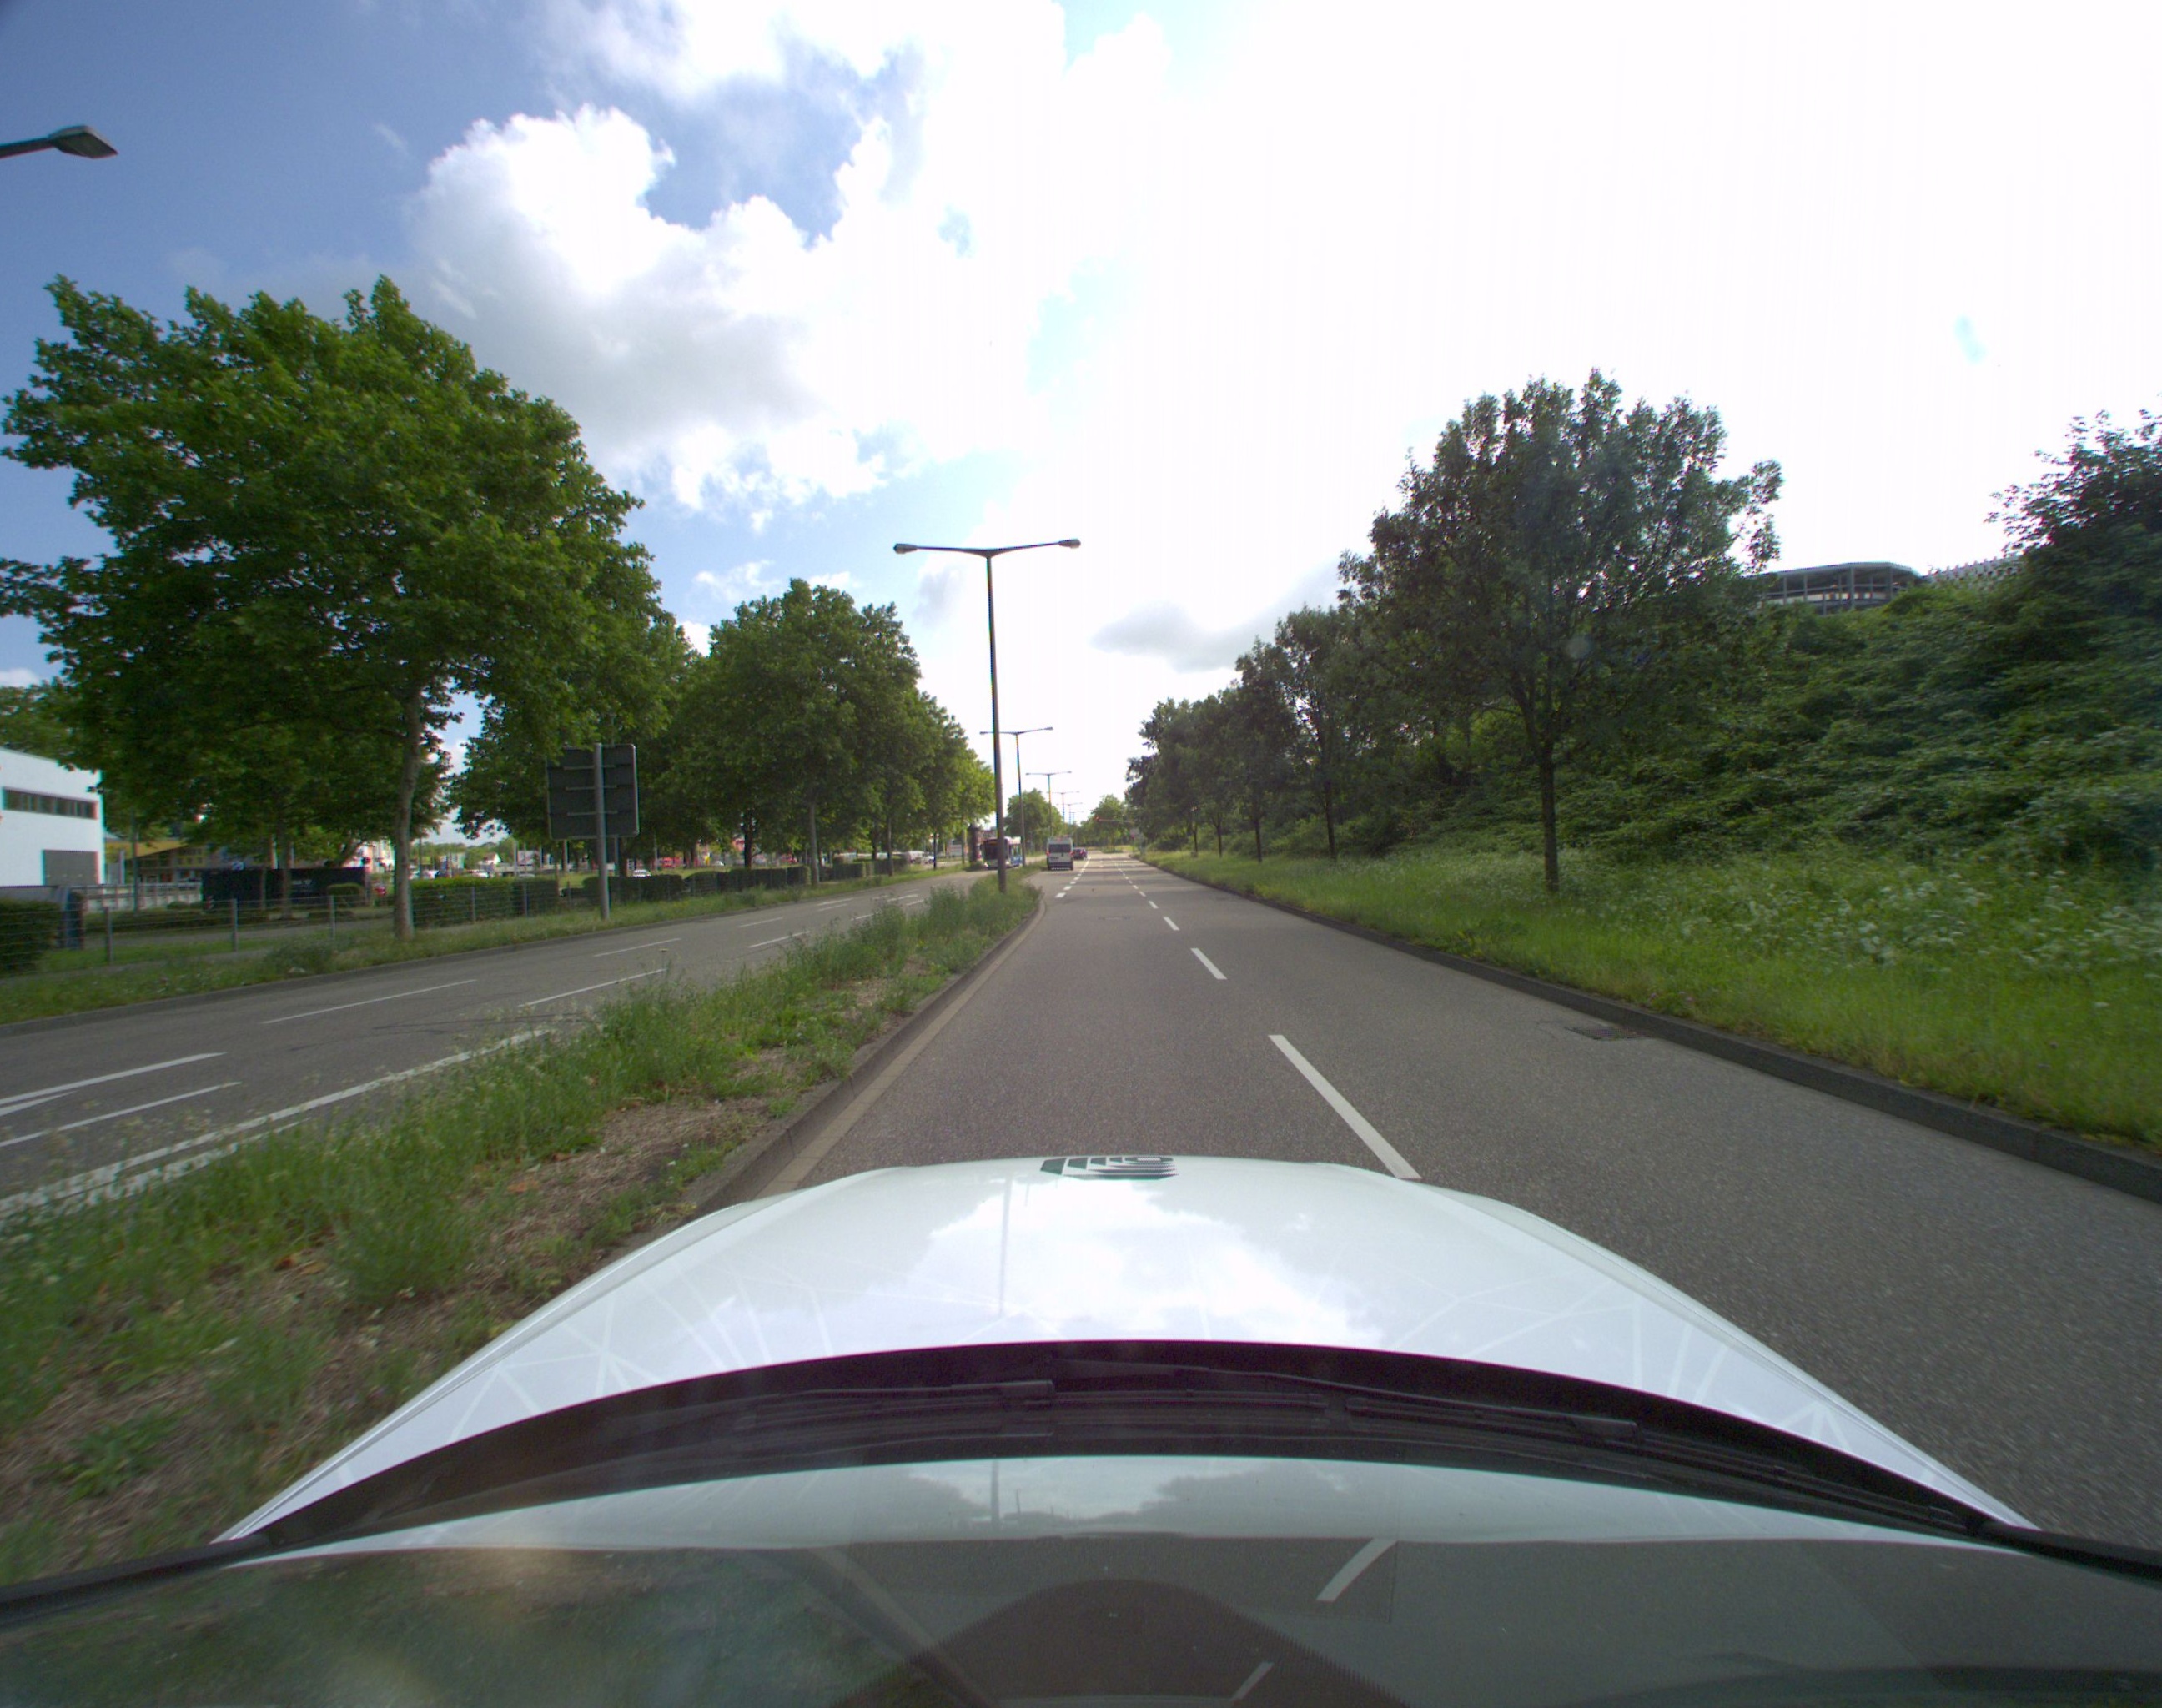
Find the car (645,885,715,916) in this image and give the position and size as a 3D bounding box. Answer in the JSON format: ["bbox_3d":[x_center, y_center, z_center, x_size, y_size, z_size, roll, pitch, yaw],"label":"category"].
[{"bbox_3d":[-22.726,2.655,46.314,1.885,1.596,4.000,-1,-4,1],"label":"car"}]

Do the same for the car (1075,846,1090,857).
[{"bbox_3d":[0.161,-0.392,117.791,1.803,1.470,3.851,-3,0,-4],"label":"car"}]

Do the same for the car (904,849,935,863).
[{"bbox_3d":[-23.877,0.312,120.515,4.019,1.838,1.843,2,-5,-38],"label":"car"}]

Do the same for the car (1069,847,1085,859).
[{"bbox_3d":[-0.590,-0.141,105.922,1.803,1.470,3.851,-3,0,-4],"label":"car"}]

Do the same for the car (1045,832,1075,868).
[{"bbox_3d":[-1.639,-0.298,63.975,2.191,2.726,4.928,-1,0,-2],"label":"car"}]

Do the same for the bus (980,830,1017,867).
[{"bbox_3d":[-8.145,-0.401,81.994,3.103,3.274,12.319,-3,-1,-4],"label":"bus"}]
